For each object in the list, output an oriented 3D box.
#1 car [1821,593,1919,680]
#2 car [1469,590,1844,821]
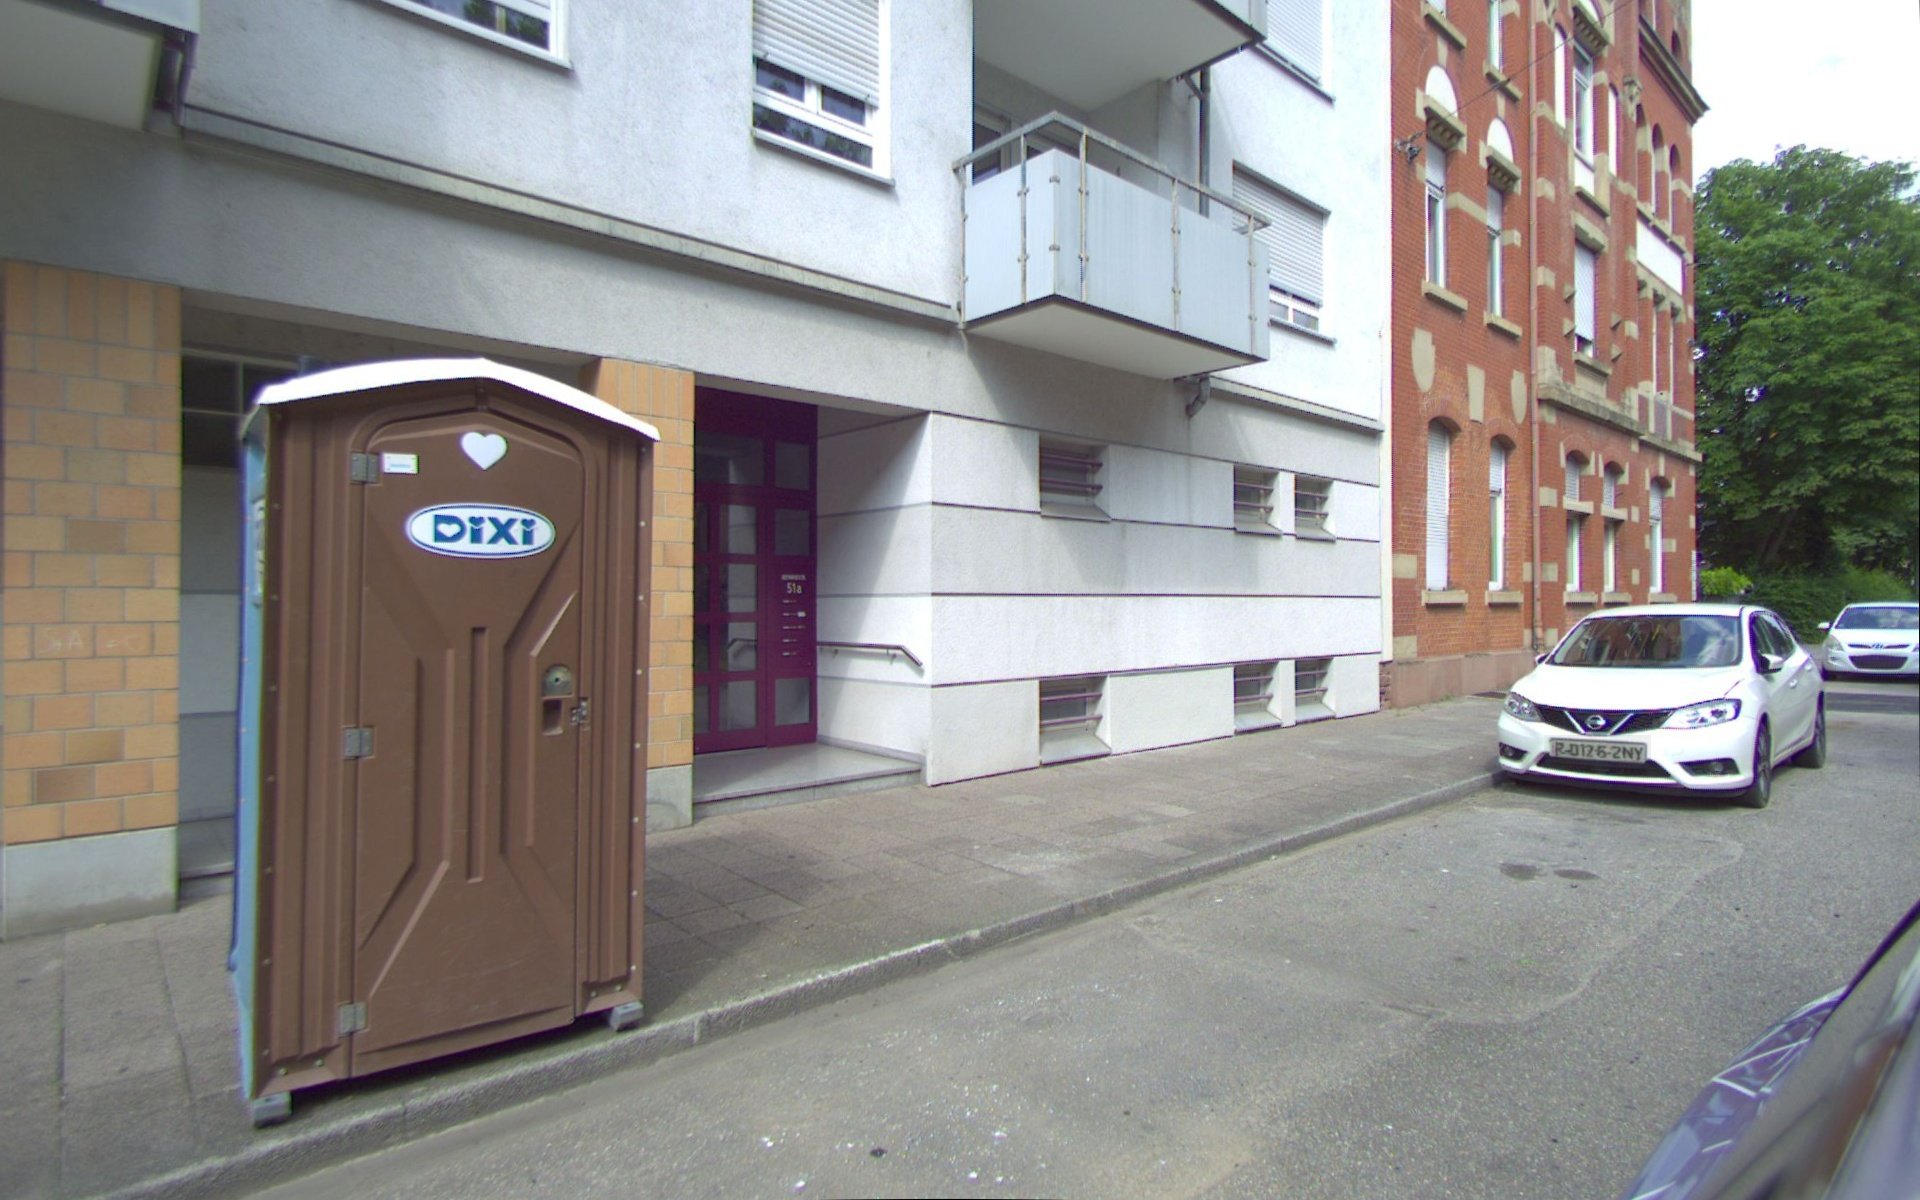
[{"bbox_3d":[18.167,0.643,19.553,3.971,1.549,1.799,0,-1,-42],"label":"car"},{"bbox_3d":[6.178,0.717,8.804,3.971,1.549,1.799,0,-1,-42],"label":"car"}]
